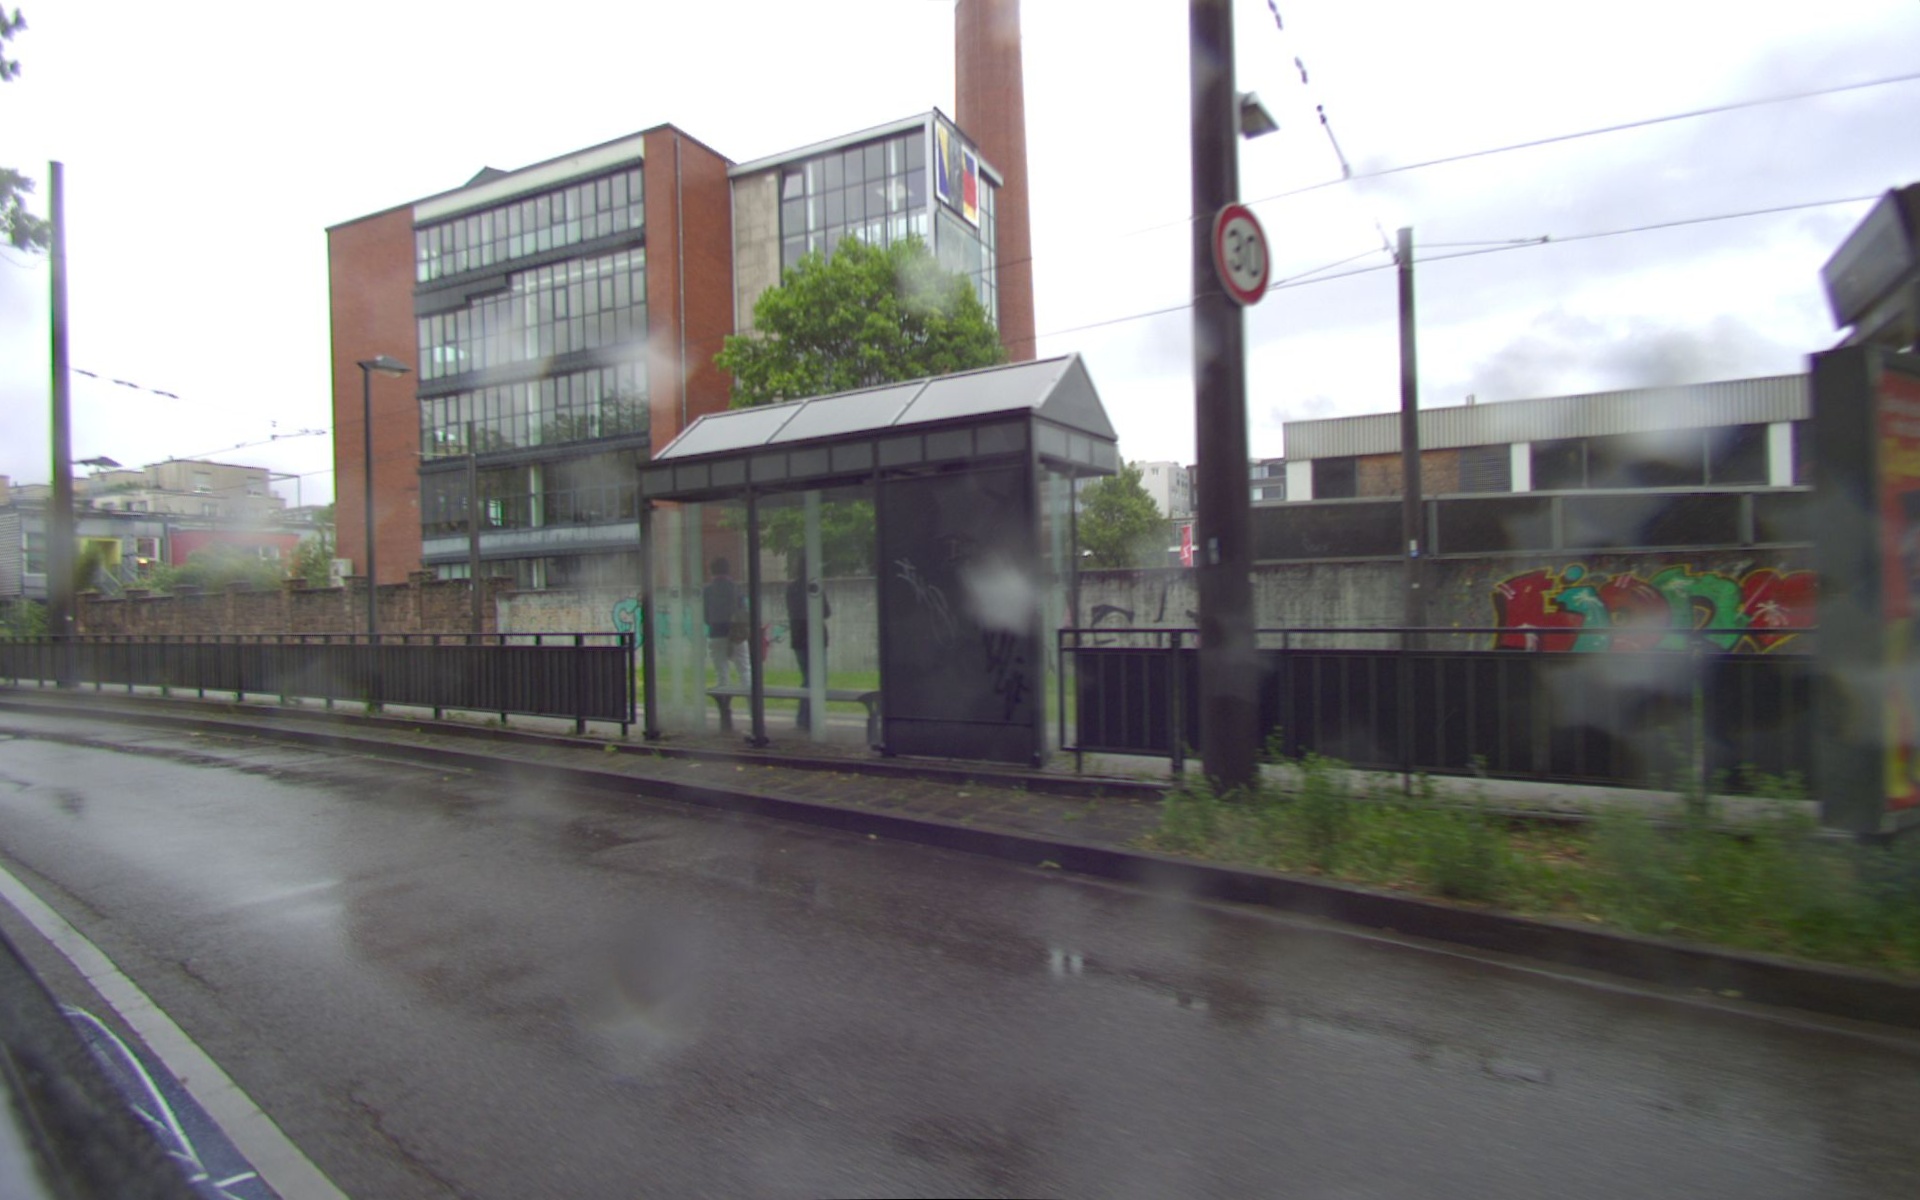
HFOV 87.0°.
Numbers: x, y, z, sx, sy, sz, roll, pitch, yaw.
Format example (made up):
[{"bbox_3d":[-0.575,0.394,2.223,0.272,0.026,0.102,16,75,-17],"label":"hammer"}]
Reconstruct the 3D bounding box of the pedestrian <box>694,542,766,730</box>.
[{"bbox_3d":[-2.209,0.341,9.746,0.560,1.744,0.583,-1,-2,-1],"label":"pedestrian"}]

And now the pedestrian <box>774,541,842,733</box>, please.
[{"bbox_3d":[-1.422,0.340,9.519,0.560,1.744,0.583,-1,-2,-3],"label":"pedestrian"}]
